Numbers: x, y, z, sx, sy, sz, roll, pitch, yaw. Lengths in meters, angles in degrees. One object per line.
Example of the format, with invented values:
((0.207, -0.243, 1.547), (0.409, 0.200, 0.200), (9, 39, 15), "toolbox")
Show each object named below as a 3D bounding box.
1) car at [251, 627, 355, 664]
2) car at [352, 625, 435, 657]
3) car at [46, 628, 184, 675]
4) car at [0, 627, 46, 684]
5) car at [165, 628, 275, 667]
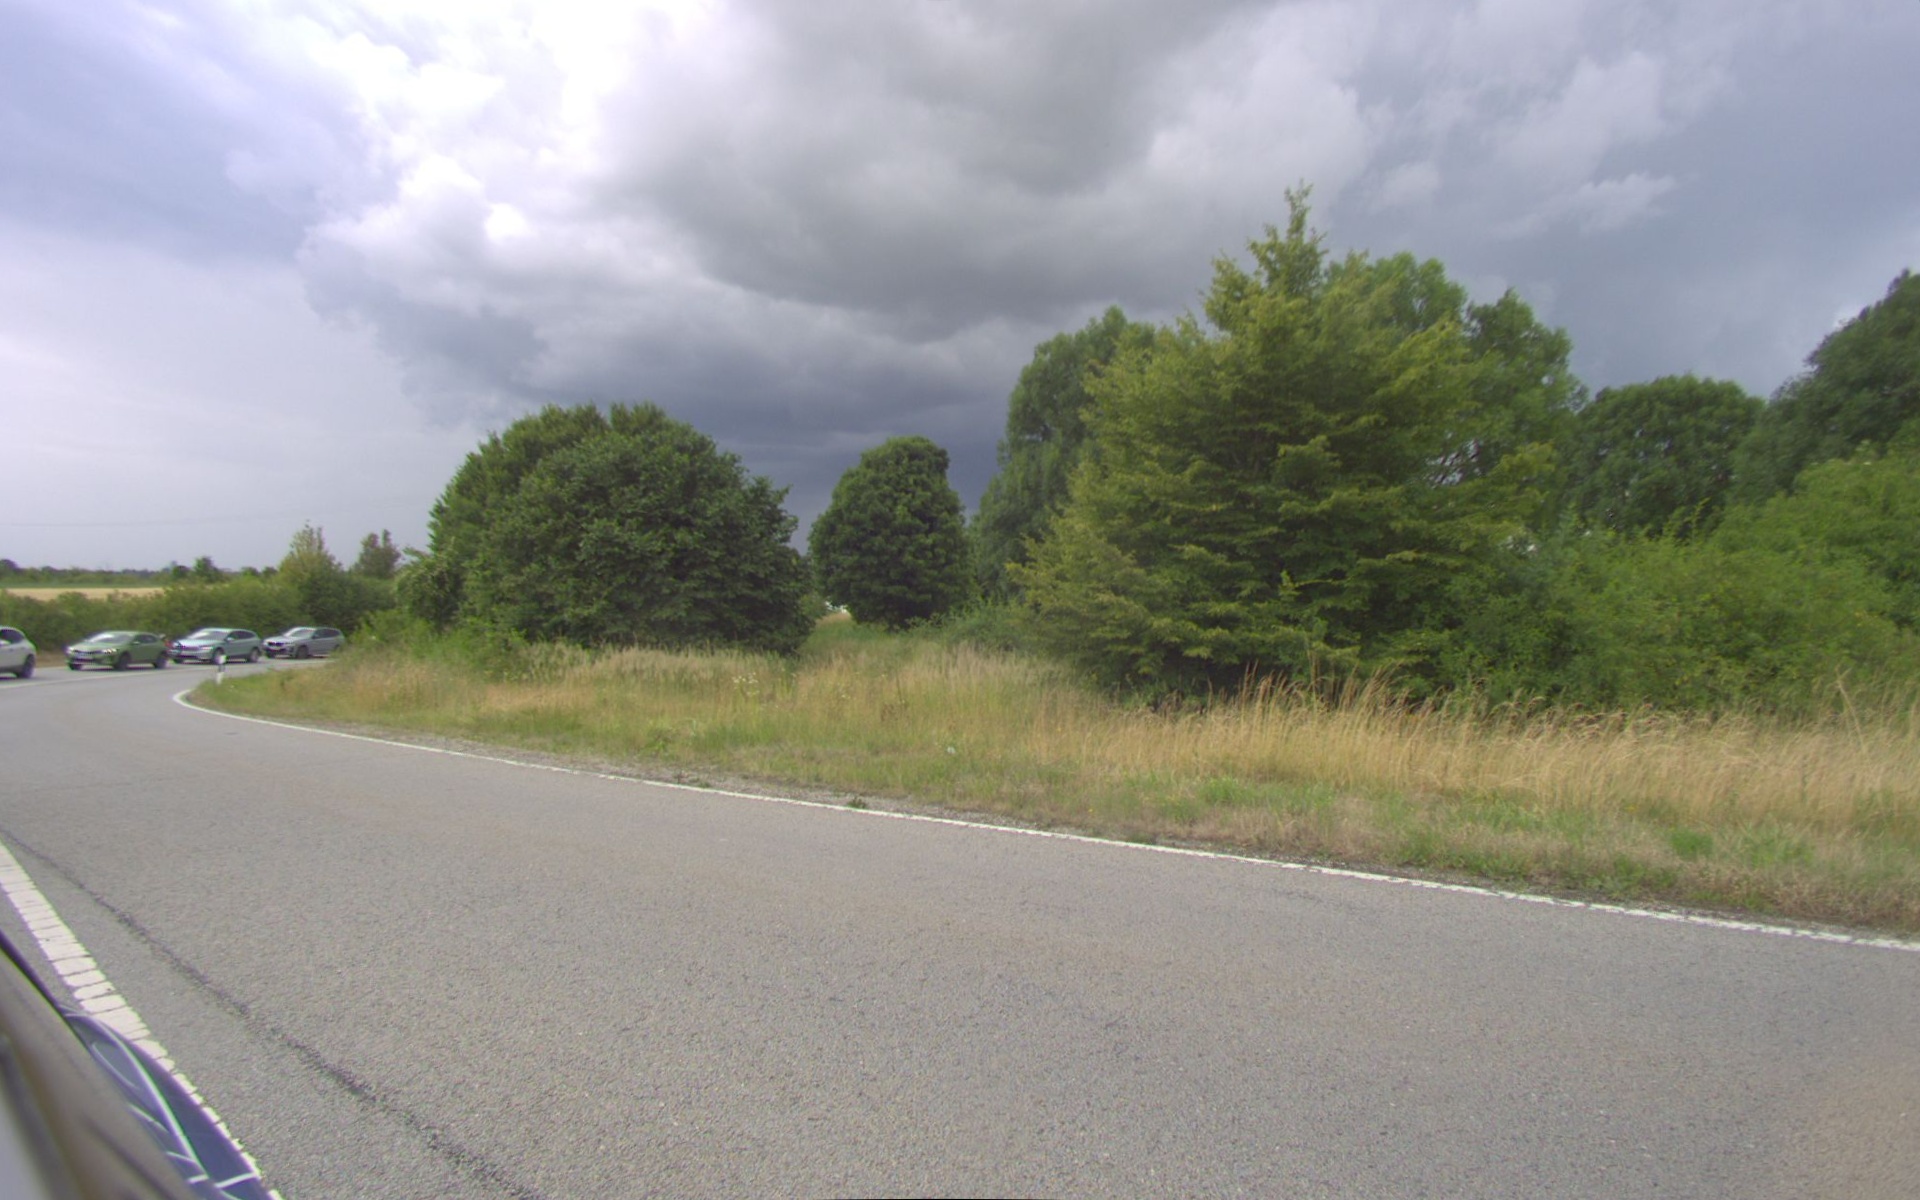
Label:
((-35.572, 2.412, 55.000), (1.974, 1.732, 5.202), (2, 0, 4), "car")
((-35.171, 2.536, 63.028), (1.974, 1.732, 5.202), (2, 0, 4), "car")
((-33.777, 2.039, 40.704), (1.967, 1.733, 5.220), (2, -3, -12), "car")
((-30.858, 1.715, 31.502), (1.965, 1.733, 5.225), (3, -3, -24), "car")
((-35.054, 2.252, 48.157), (1.968, 1.733, 5.217), (2, -3, -8), "car")
